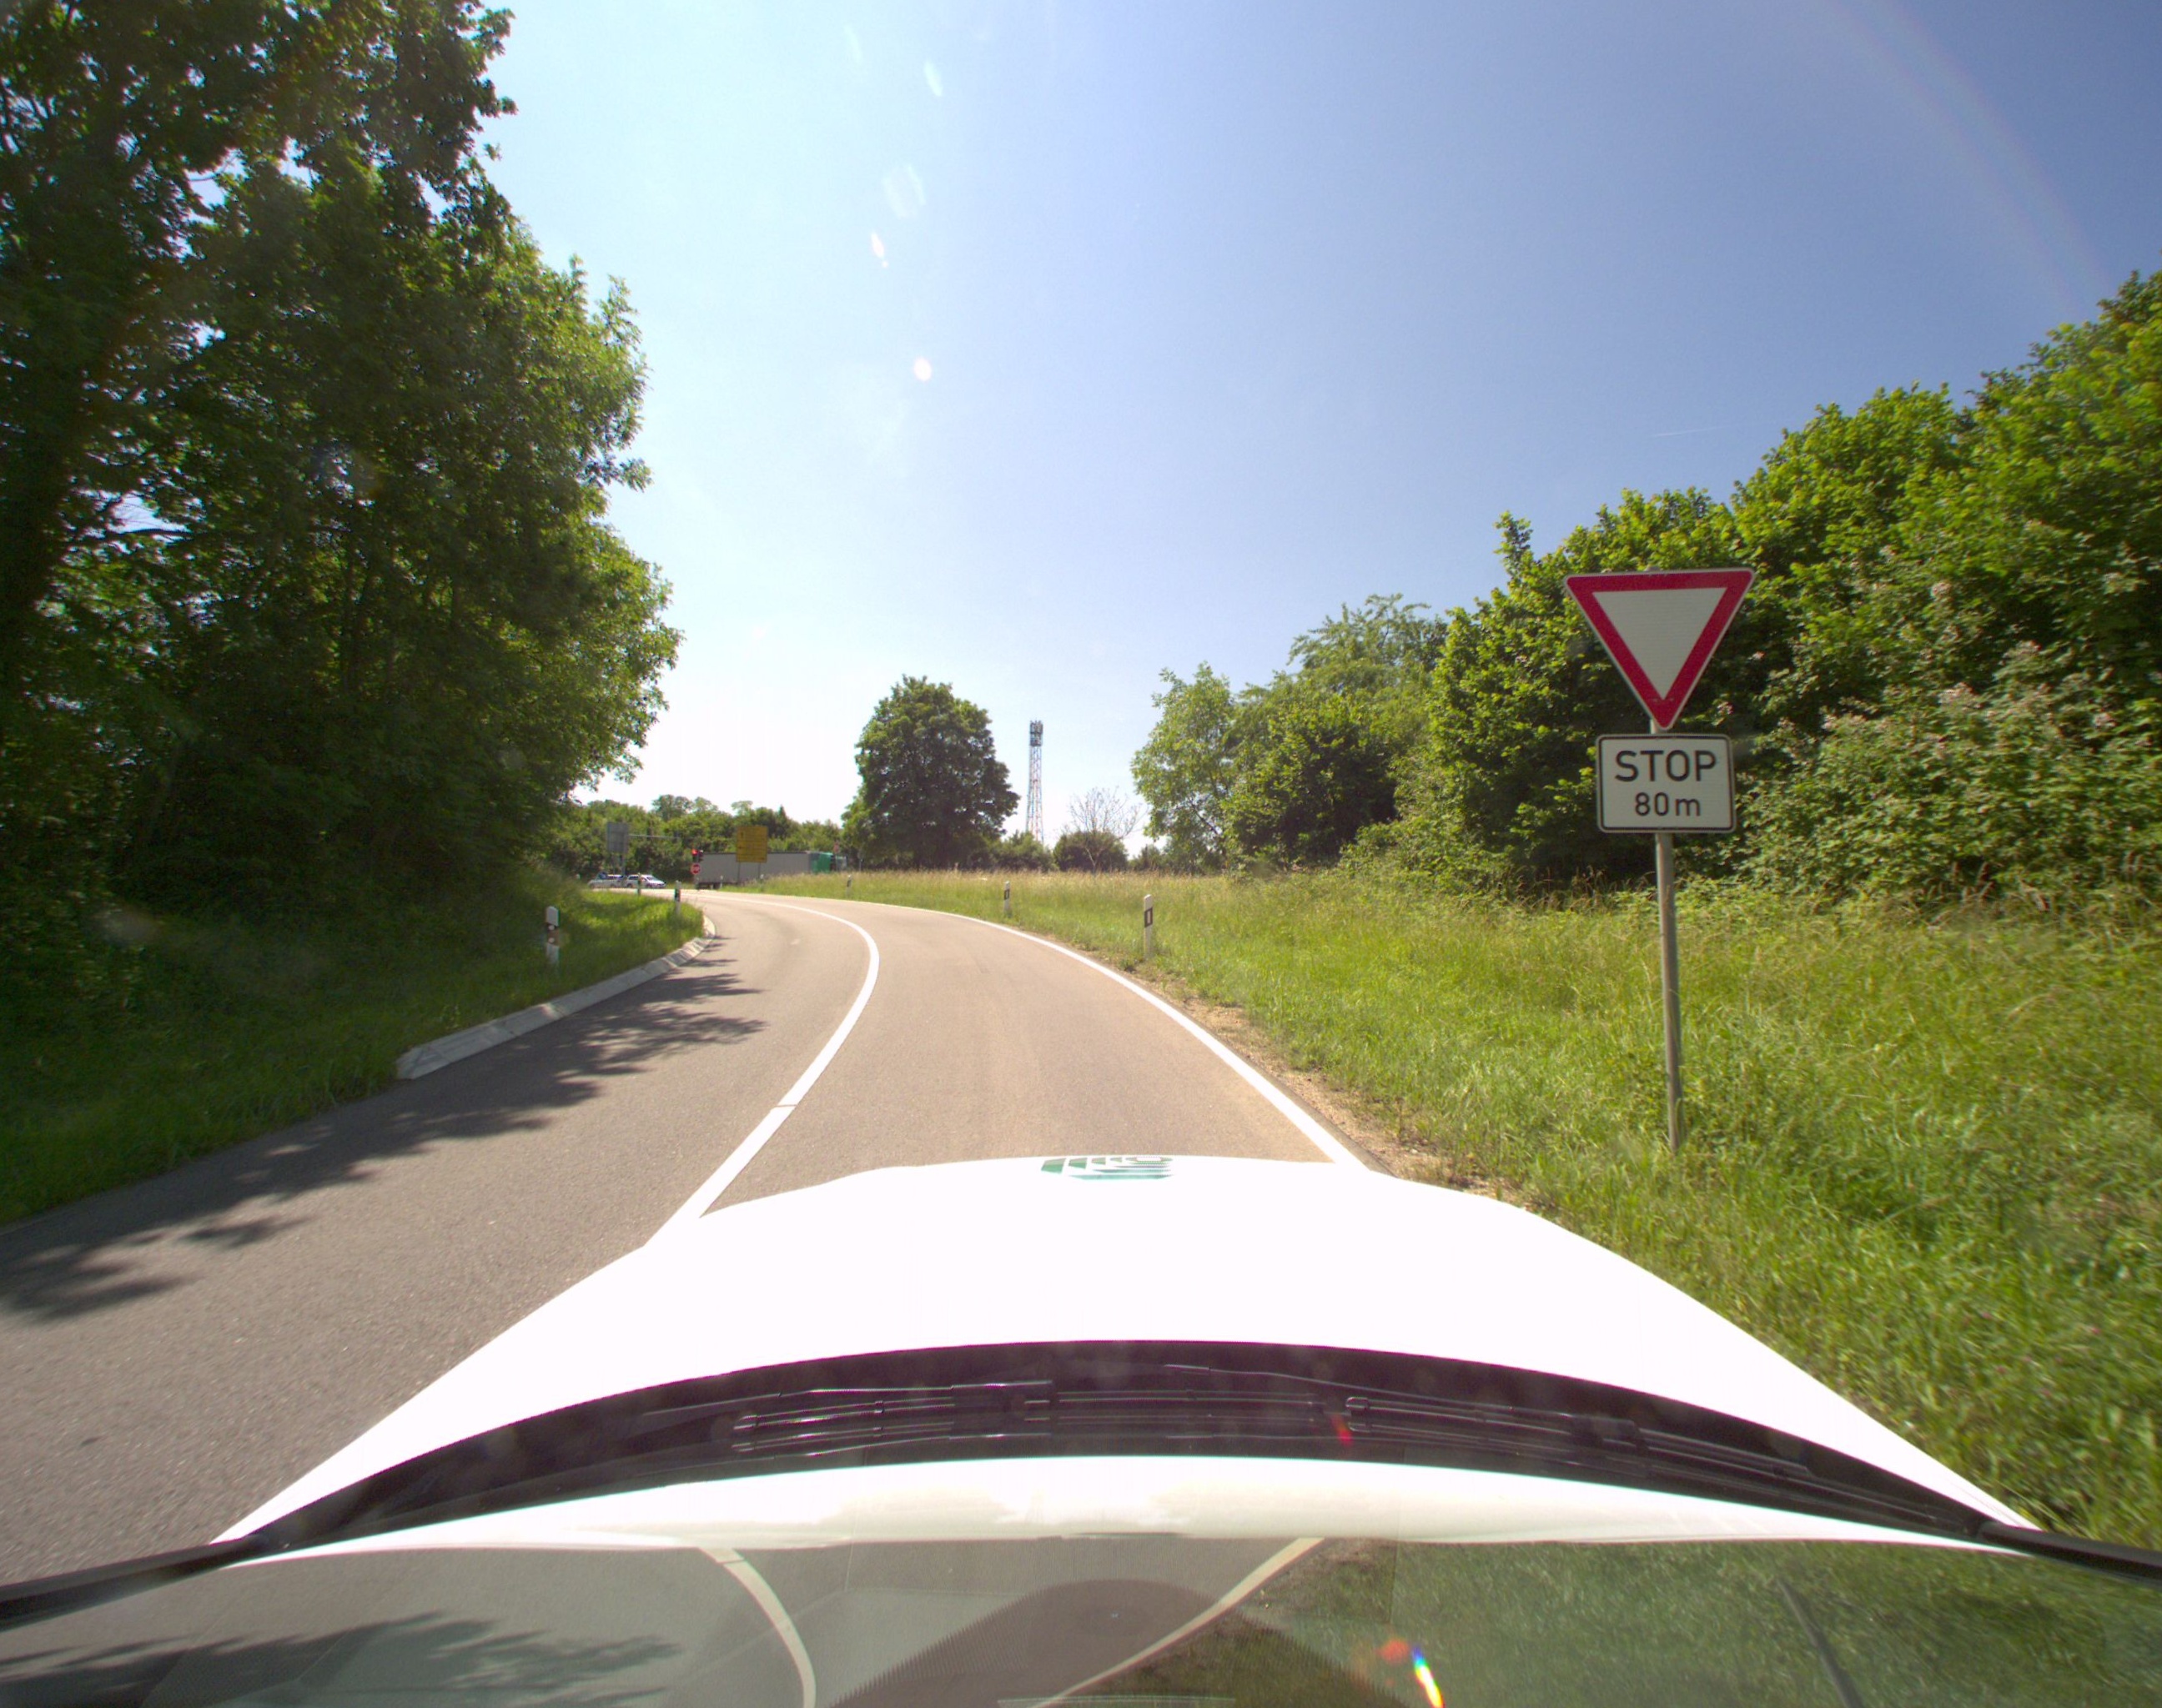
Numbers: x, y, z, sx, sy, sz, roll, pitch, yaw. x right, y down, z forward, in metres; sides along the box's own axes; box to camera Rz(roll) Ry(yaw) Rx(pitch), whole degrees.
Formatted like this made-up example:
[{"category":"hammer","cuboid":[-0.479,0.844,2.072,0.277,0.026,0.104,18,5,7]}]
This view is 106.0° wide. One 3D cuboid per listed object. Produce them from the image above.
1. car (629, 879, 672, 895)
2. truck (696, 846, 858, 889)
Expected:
[{"category":"car","cuboid":[-46.258,3.586,87.585,3.674,1.575,1.721,-1,-1,-7]},{"category":"truck","cuboid":[-31.195,1.429,83.515,16.516,4.173,3.146,-1,-2,13]}]
